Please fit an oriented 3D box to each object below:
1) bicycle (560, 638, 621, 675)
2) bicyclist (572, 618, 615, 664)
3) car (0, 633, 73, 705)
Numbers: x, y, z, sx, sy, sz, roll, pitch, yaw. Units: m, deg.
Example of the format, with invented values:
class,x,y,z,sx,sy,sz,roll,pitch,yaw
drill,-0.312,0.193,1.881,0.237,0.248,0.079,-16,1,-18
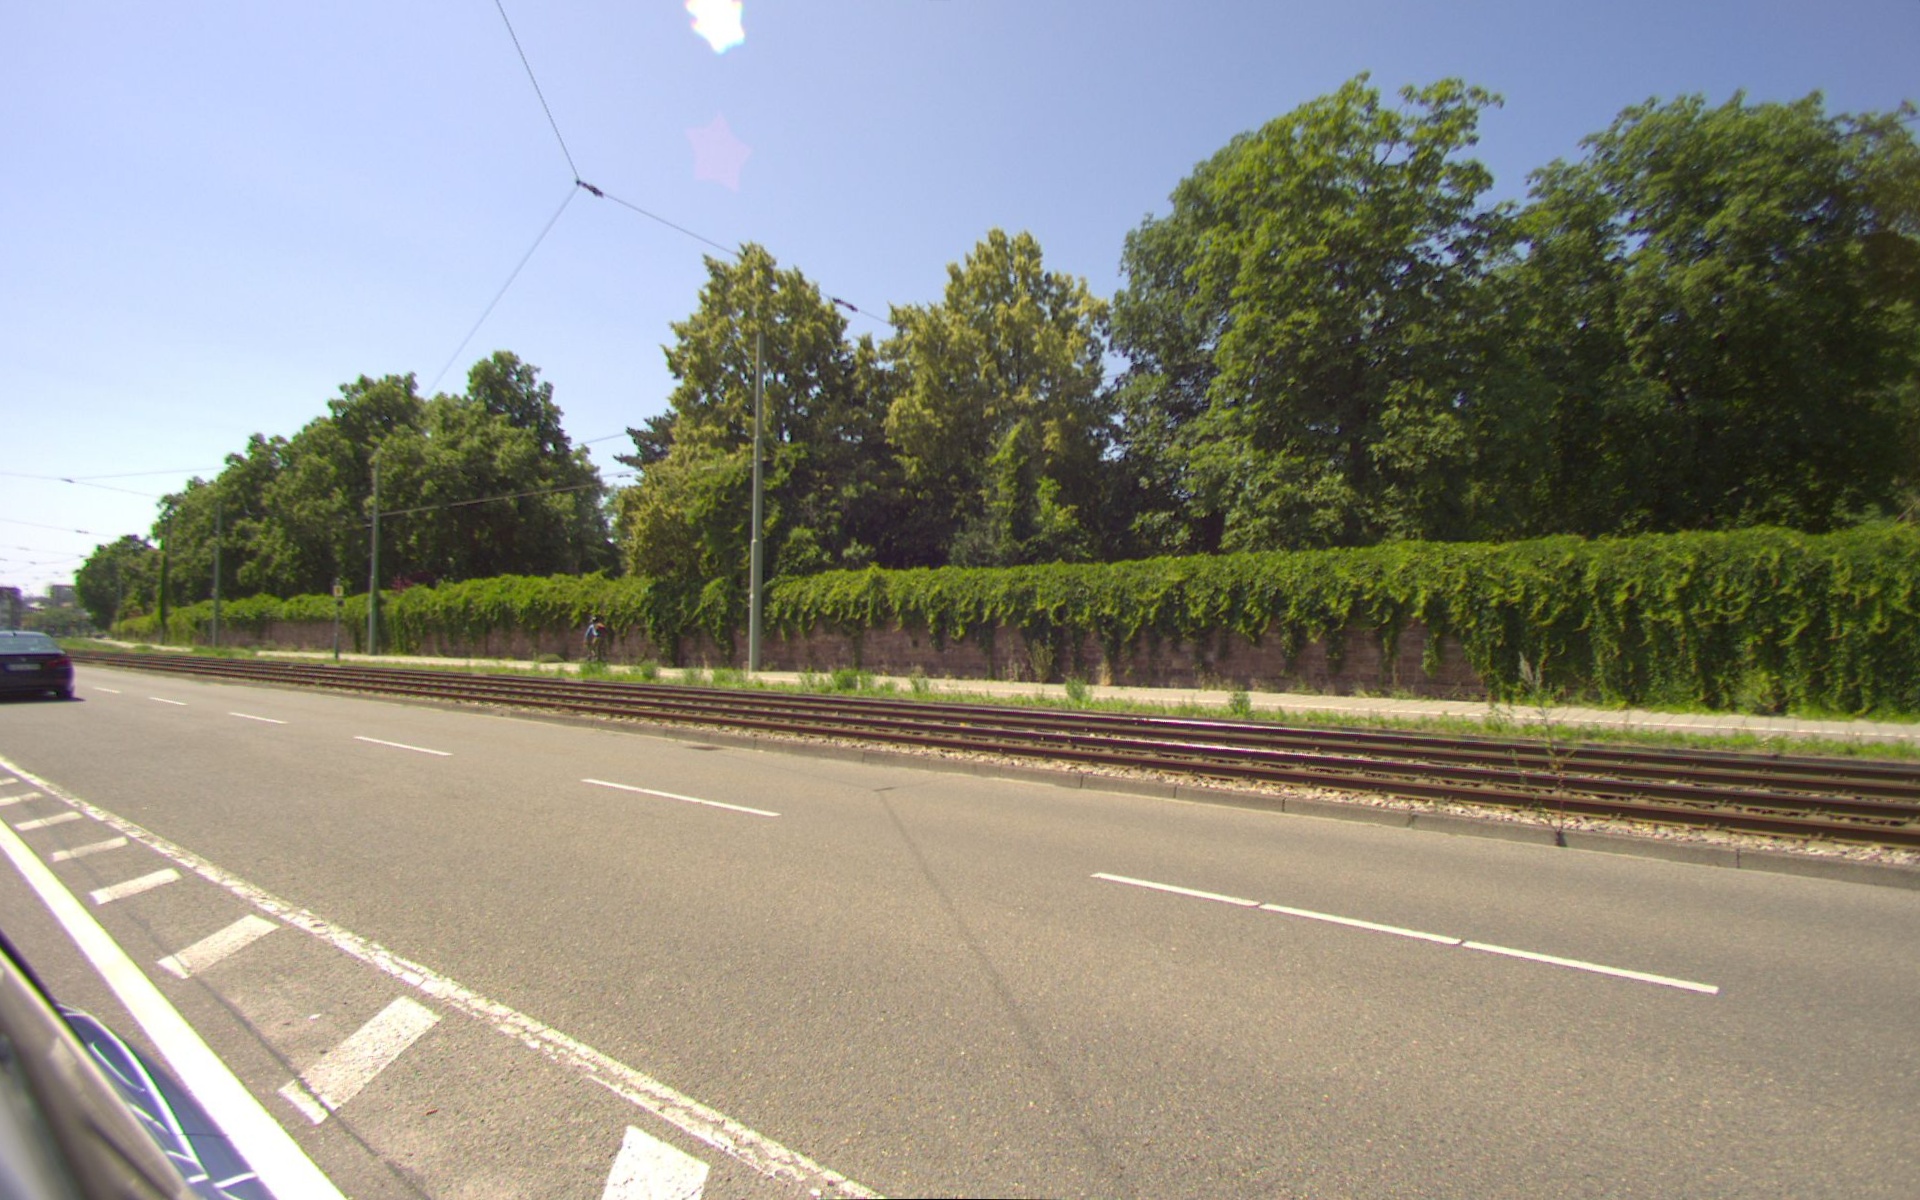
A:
class,x,y,z,sx,sy,sz,roll,pitch,yaw
bicycle,-12.141,1.820,33.175,2.686,1.165,0.819,-2,-3,45
bicyclist,-11.967,1.332,33.045,1.000,1.497,0.983,-2,-3,44
car,-20.468,1.412,21.469,4.443,1.410,1.775,-2,-2,39
